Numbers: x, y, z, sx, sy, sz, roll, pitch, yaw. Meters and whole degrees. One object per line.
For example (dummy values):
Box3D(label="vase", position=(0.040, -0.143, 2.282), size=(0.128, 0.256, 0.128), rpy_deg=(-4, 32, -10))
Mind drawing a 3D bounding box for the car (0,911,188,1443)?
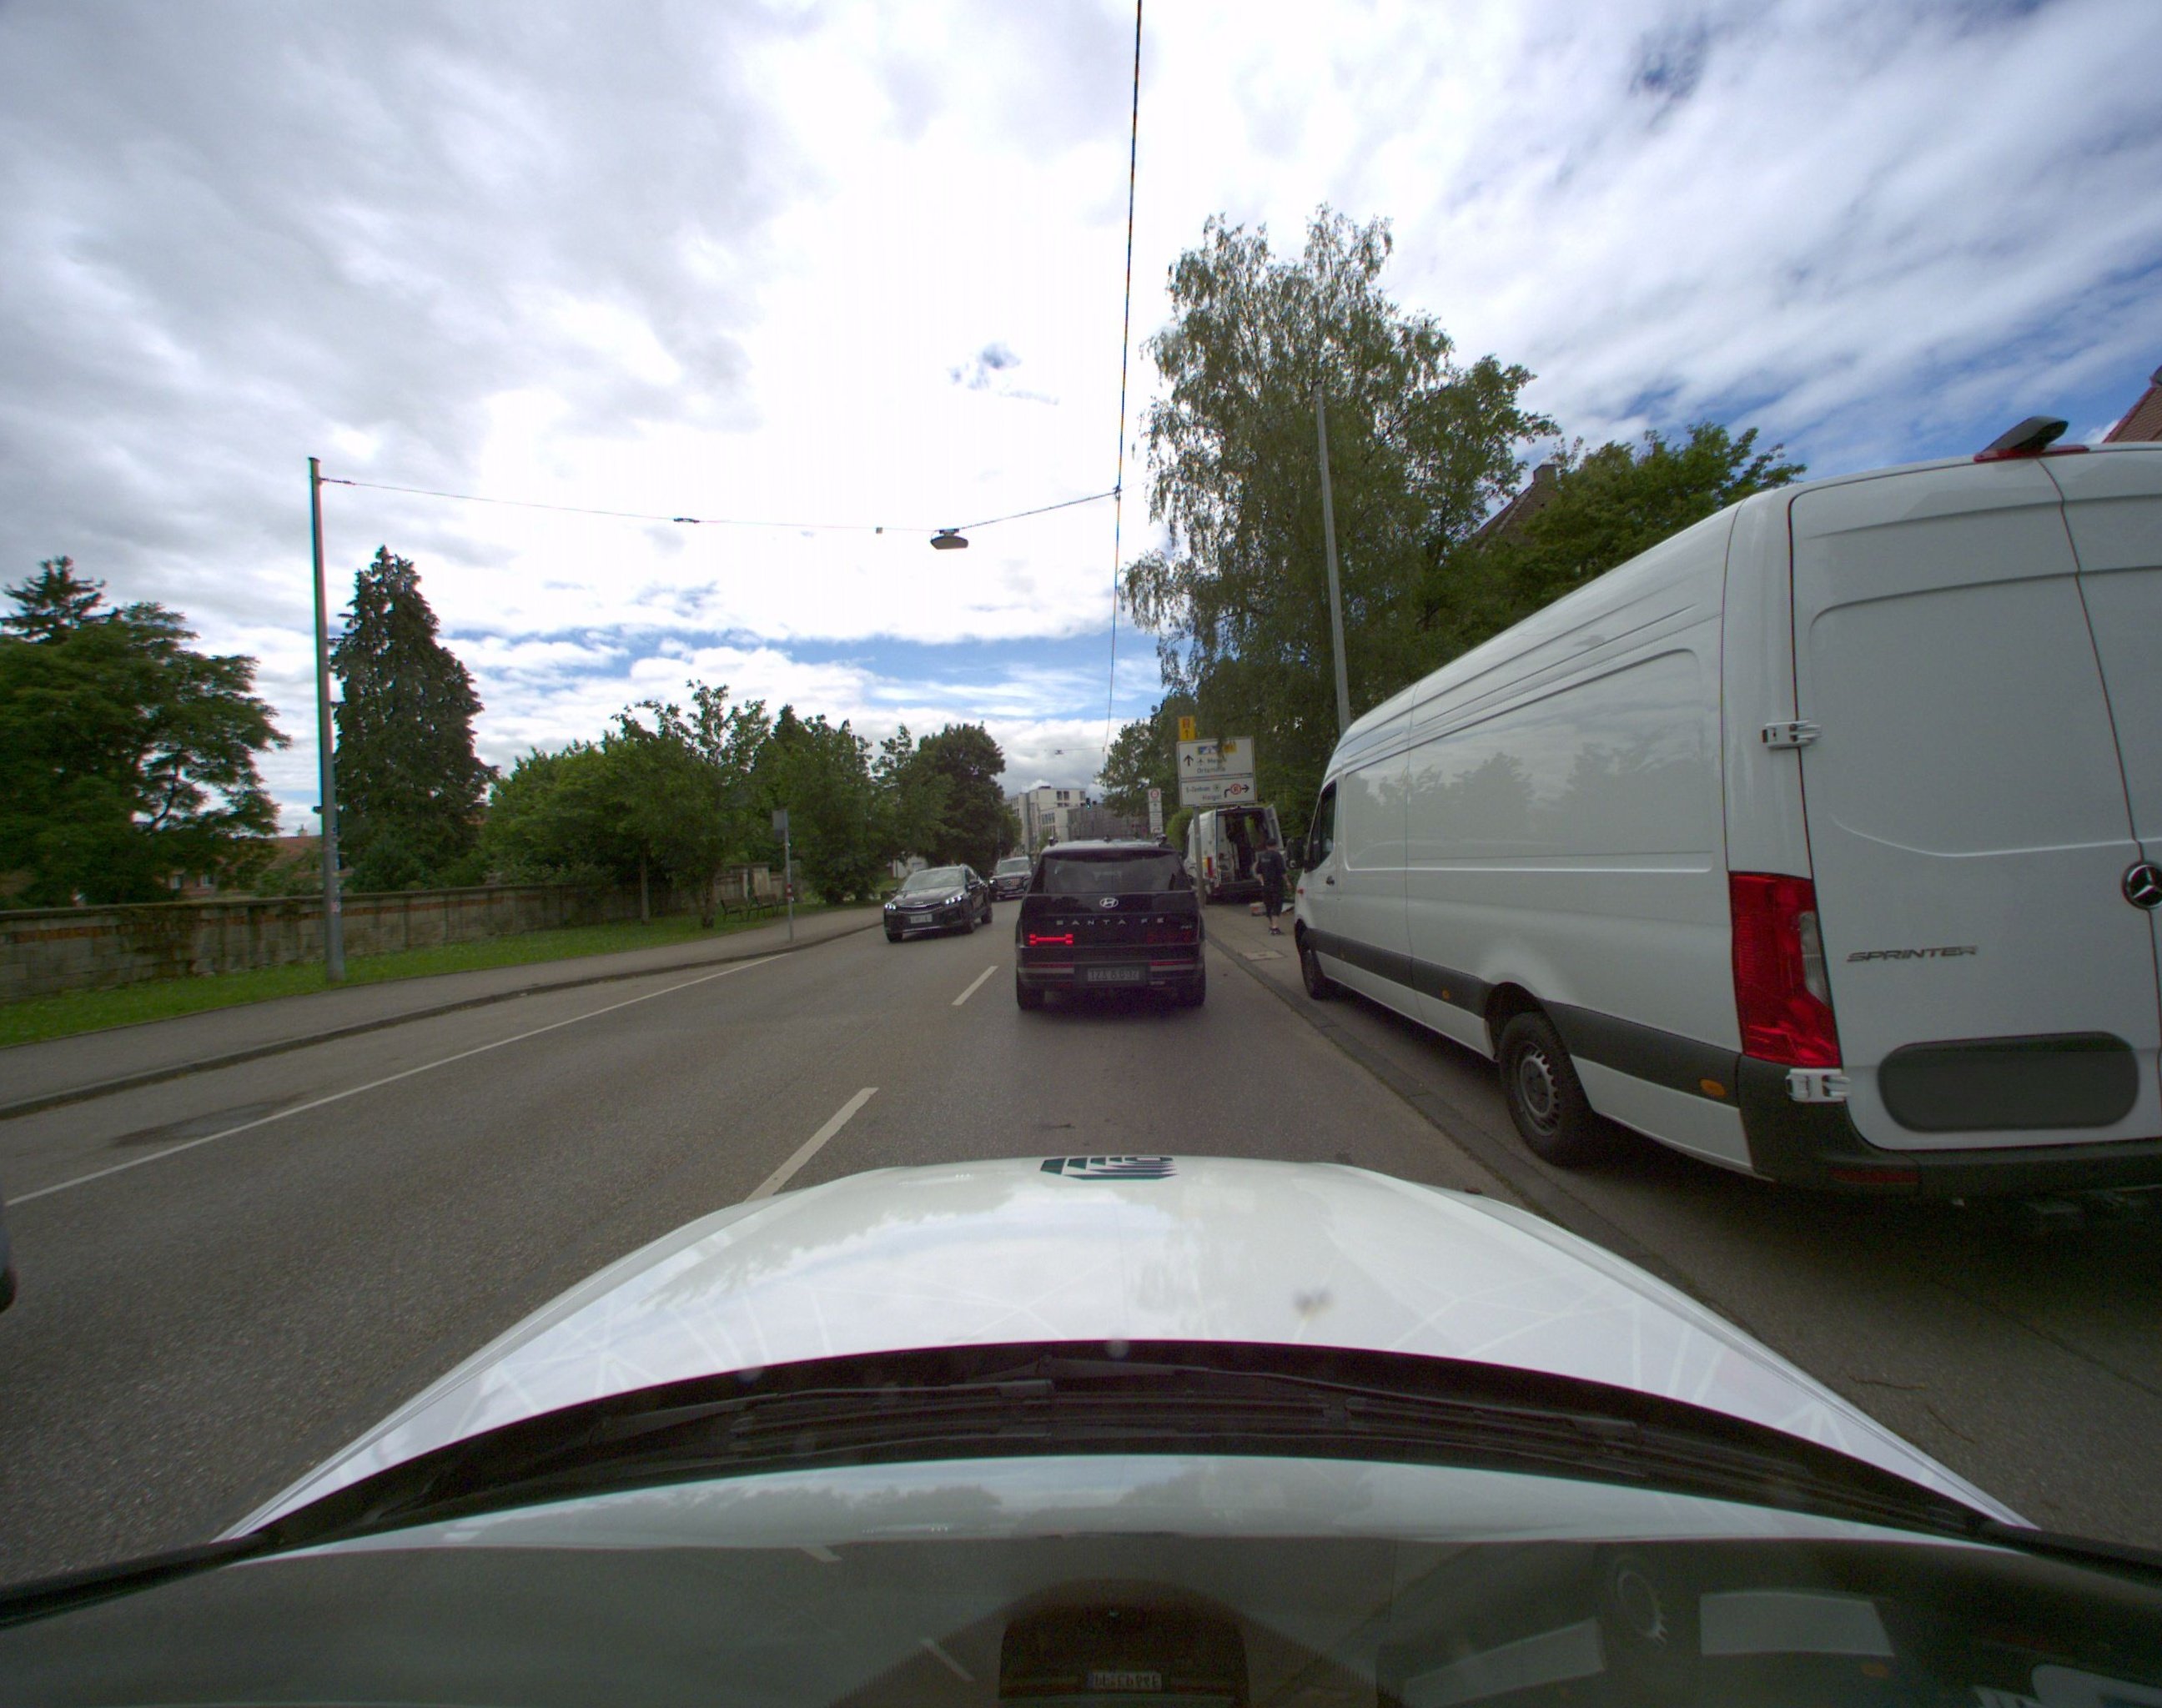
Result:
Box3D(label="car", position=(-3.890, 0.955, 0.445), size=(1.750, 1.403, 4.416), rpy_deg=(-5, -1, 2))

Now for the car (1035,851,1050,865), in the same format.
Box3D(label="car", position=(-6.747, 0.661, 142.914), size=(2.328, 2.315, 4.950), rpy_deg=(-3, 0, -4))

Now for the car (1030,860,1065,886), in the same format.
Box3D(label="car", position=(-2.097, 1.162, 52.105), size=(1.808, 1.419, 4.830), rpy_deg=(-6, -1, 1))

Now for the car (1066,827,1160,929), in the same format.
Box3D(label="car", position=(0.708, 0.491, 18.370), size=(1.890, 2.042, 3.995), rpy_deg=(0, 0, 2))

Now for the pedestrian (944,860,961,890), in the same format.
Box3D(label="pedestrian", position=(-7.809, 1.262, 49.519), size=(0.764, 1.748, 0.904), rpy_deg=(-2, -1, 1))

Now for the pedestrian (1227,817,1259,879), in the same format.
Box3D(label="pedestrian", position=(4.481, -0.157, 22.564), size=(0.732, 1.643, 0.803), rpy_deg=(-4, -1, 11))

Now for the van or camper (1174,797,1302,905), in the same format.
Box3D(label="van or camper", position=(4.326, -0.019, 23.774), size=(2.332, 2.494, 6.604), rpy_deg=(-6, -1, 1))

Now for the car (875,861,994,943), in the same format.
Box3D(label="car", position=(-3.134, 0.970, 18.243), size=(1.695, 1.483, 4.001), rpy_deg=(-5, -1, 2))

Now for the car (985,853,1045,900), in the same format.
Box3D(label="car", position=(-2.608, 0.883, 33.207), size=(1.873, 1.644, 4.129), rpy_deg=(-5, -1, 1))

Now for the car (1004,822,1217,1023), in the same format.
Box3D(label="car", position=(0.327, 0.624, 9.247), size=(1.890, 1.776, 3.995), rpy_deg=(0, 0, 2))

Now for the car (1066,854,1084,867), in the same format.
Box3D(label="car", position=(-0.722, 0.829, 104.194), size=(1.829, 1.538, 4.274), rpy_deg=(-3, 0, 5))

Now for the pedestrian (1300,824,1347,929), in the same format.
Box3D(label="pedestrian", position=(4.176, 0.385, 14.010), size=(0.642, 1.751, 0.658), rpy_deg=(-3, -1, 19))

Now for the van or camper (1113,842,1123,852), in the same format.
Box3D(label="van or camper", position=(7.805, -1.506, 171.044), size=(1.791, 1.998, 3.821), rpy_deg=(0, 0, -2))

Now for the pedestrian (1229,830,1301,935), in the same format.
Box3D(label="pedestrian", position=(3.218, 0.490, 14.248), size=(0.795, 1.720, 0.744), rpy_deg=(-5, 0, -35))

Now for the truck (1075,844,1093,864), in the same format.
Box3D(label="truck", position=(0.571, -0.008, 173.236), size=(3.101, 3.859, 9.607), rpy_deg=(-3, 0, -4))

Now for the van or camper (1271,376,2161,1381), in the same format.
Box3D(label="van or camper", position=(3.054, 0.036, 5.475), size=(1.983, 2.625, 6.547), rpy_deg=(-6, -1, 2))
